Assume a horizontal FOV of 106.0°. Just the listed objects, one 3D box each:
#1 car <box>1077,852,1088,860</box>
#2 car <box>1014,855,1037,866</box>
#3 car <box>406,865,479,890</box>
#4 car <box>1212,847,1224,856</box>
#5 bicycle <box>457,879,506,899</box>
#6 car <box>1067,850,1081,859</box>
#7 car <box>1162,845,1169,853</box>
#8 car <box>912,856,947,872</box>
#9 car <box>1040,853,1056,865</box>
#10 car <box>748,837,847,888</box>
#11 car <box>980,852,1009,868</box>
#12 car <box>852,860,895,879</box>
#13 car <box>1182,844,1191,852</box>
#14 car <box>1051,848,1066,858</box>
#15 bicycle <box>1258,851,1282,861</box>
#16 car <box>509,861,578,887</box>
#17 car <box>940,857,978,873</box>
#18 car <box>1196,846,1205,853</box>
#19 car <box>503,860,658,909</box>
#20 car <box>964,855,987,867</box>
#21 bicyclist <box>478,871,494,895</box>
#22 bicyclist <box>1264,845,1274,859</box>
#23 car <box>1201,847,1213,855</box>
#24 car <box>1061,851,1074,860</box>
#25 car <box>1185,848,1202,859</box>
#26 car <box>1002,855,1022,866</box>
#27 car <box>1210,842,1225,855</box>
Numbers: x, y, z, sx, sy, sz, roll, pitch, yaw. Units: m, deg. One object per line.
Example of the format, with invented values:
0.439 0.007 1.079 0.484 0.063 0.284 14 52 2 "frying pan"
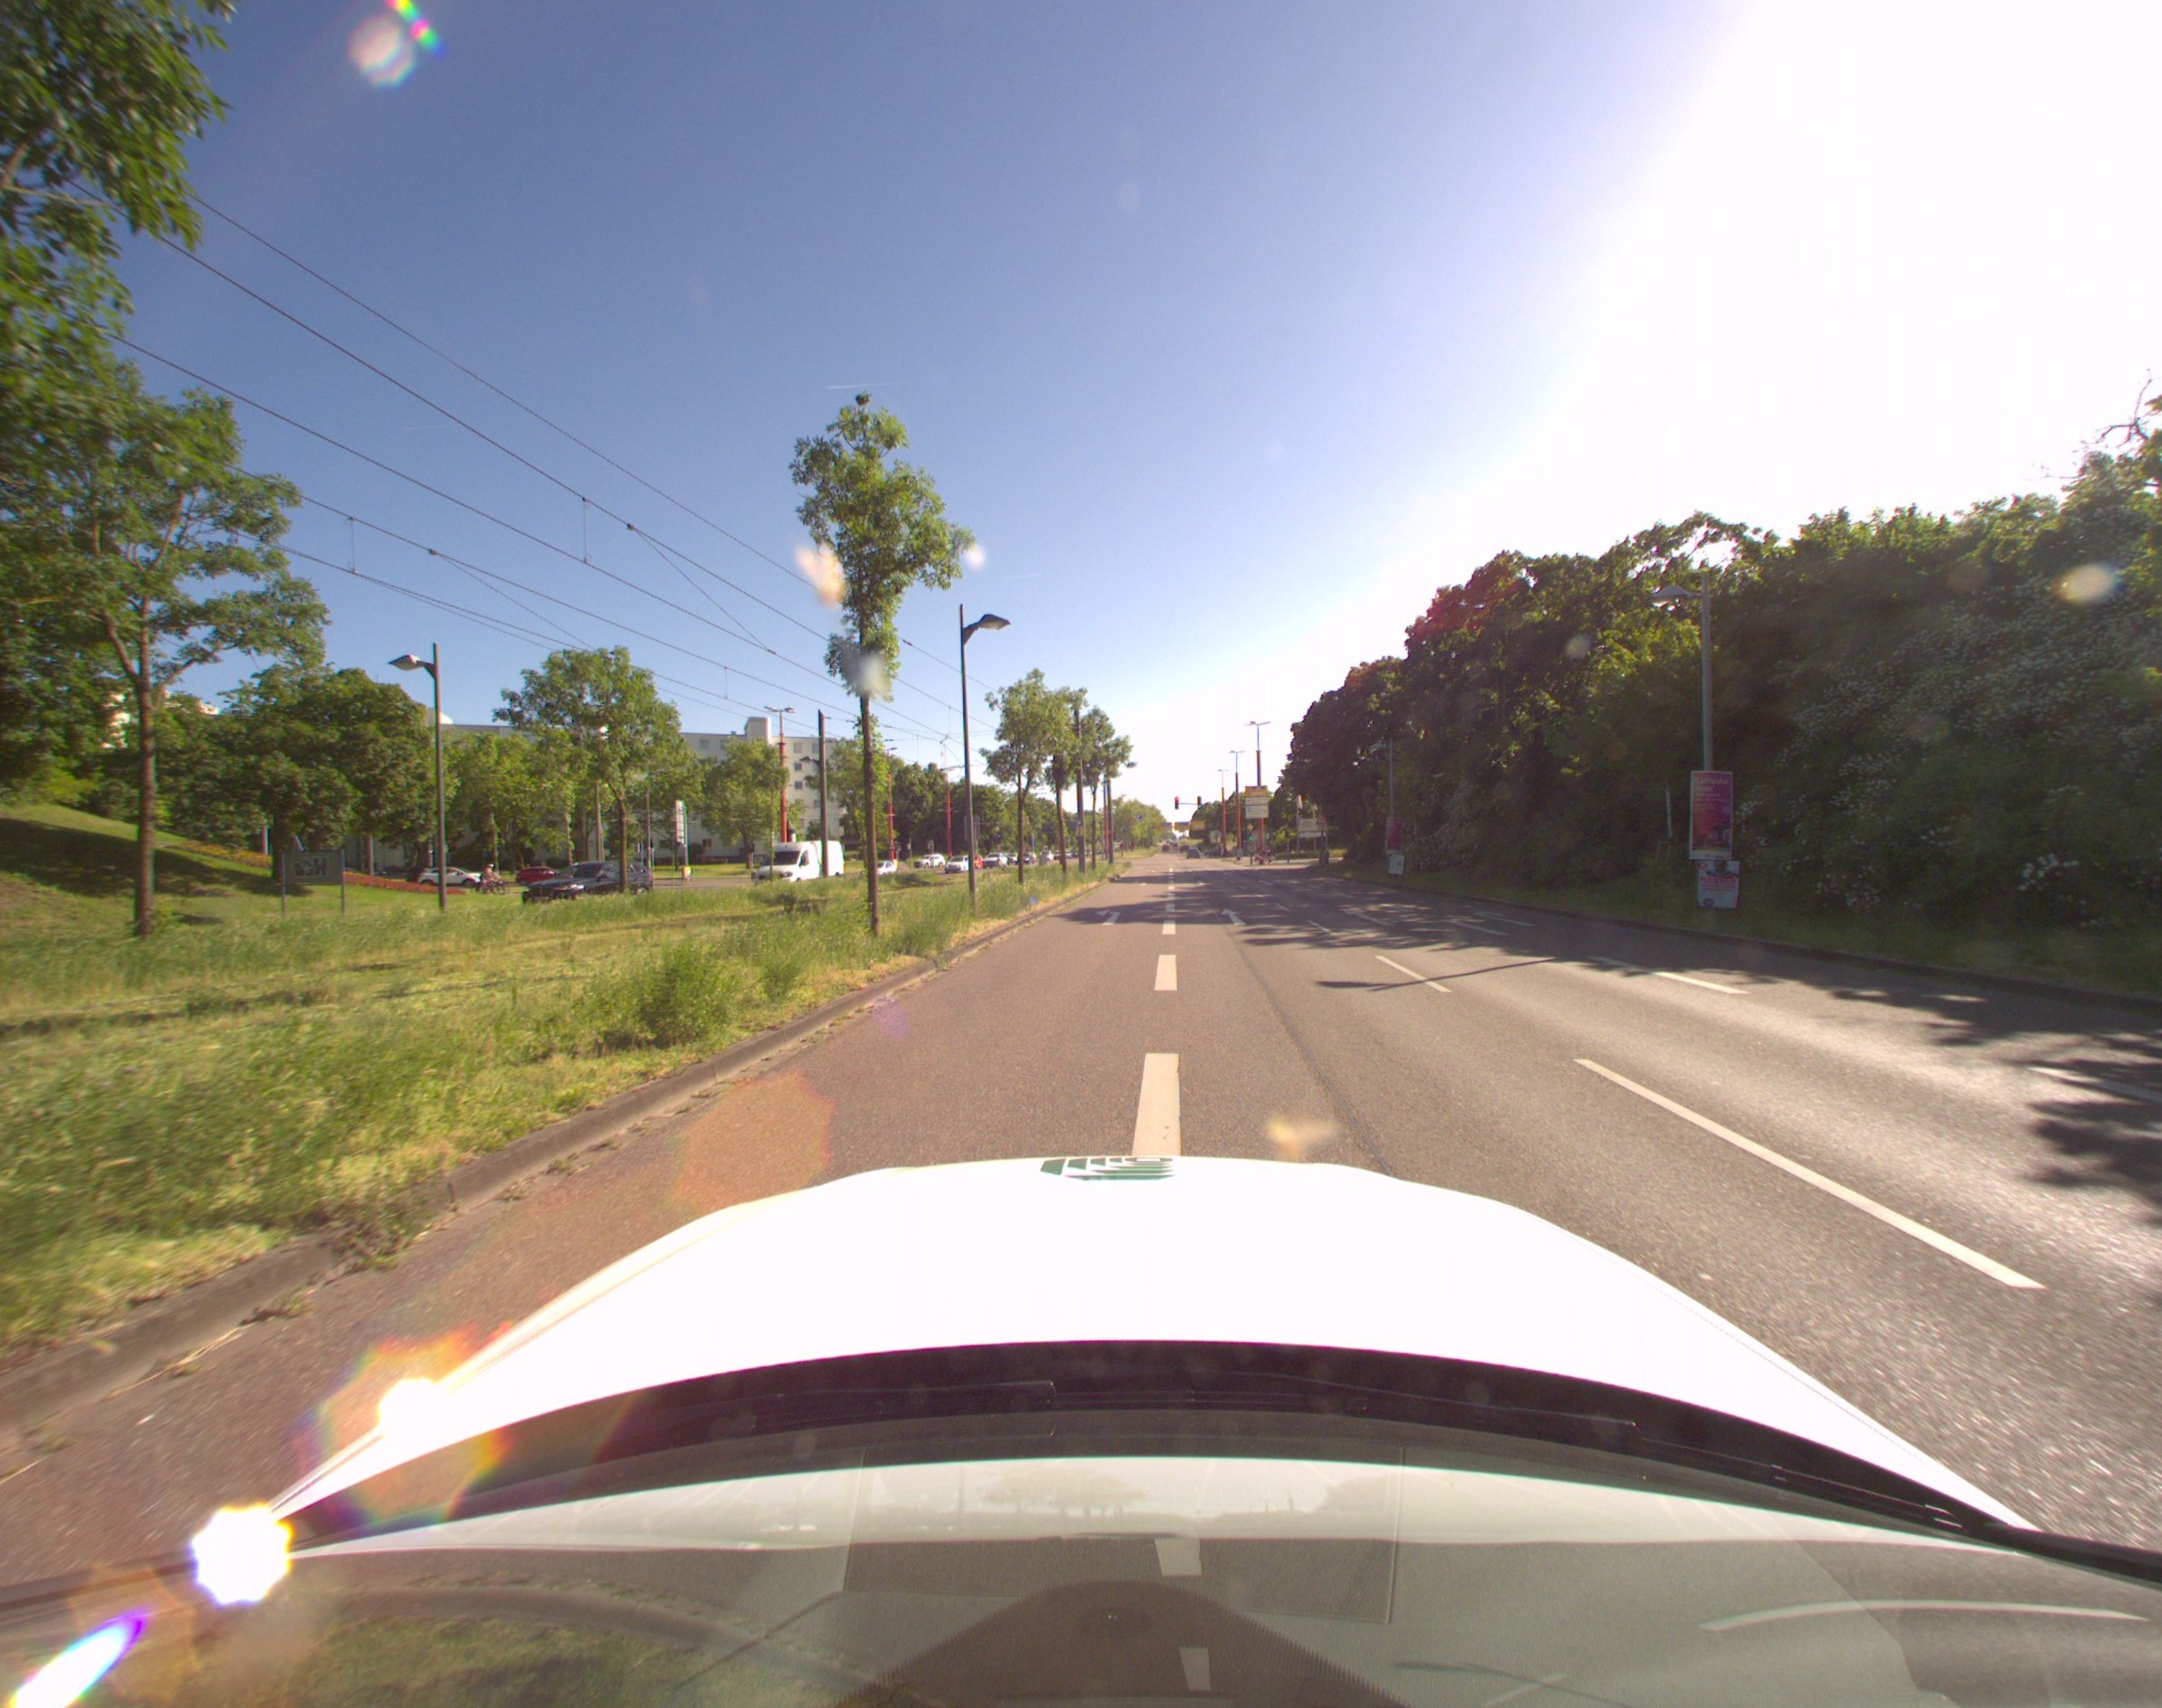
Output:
0.264 0.386 165.686 1.791 1.707 4.067 -2 0 6 "car"
-7.022 0.814 103.878 1.982 1.409 5.001 -1 0 8 "car"
-48.392 1.764 61.783 4.006 1.750 1.897 -1 0 -25 "car"
22.003 -0.352 131.142 1.729 1.341 3.087 -1 0 6 "car"
-35.870 2.069 48.738 2.372 1.081 0.468 -1 0 -40 "bicycle"
-1.337 0.056 152.527 1.982 1.594 4.474 -2 0 8 "car"
22.891 -1.383 220.541 1.984 2.013 4.005 -1 0 4 "car"
-19.980 1.300 107.653 1.974 2.013 4.436 -1 0 35 "car"
-4.848 0.708 120.094 1.753 1.608 3.765 -2 0 7 "car"
-14.318 0.399 41.734 2.029 2.369 6.892 -1 0 6 "car"
-9.157 0.619 86.941 1.883 1.621 4.669 -1 0 9 "car"
-15.524 1.139 61.200 1.788 1.293 4.008 -1 0 7 "car"
26.774 -1.547 207.284 2.143 2.013 4.007 -2 0 6 "car"
-3.655 -0.111 132.802 1.580 1.472 4.192 -3 1 7 "car"
17.618 0.175 75.961 2.158 0.878 0.559 -1 0 -6 "bicycle"
-42.140 1.542 63.944 4.282 1.901 1.984 -1 0 -25 "car"
-10.972 0.957 73.445 1.887 1.398 4.558 -1 0 12 "car"
27.882 -1.132 190.650 1.983 1.541 4.007 -1 -1 6 "car"
-18.074 1.045 29.800 1.983 1.584 5.282 -1 0 6 "car"
-11.773 0.791 90.883 1.649 1.297 4.184 -1 0 6 "car"
-35.708 1.740 48.870 0.761 1.430 0.743 0 0 -39 "bicyclist"
17.540 -0.184 75.974 0.738 1.341 0.707 -1 0 -4 "bicyclist"
22.983 -0.522 148.918 1.983 1.540 4.007 -1 0 6 "car"
-2.307 0.309 142.633 1.695 1.423 4.651 -2 0 6 "car"
15.484 -0.067 112.400 1.986 1.496 4.002 -1 0 2 "car"
-9.646 0.865 114.225 1.984 1.432 4.701 -2 0 6 "car"
19.573 -0.792 116.848 1.982 1.887 4.010 -1 0 9 "car"
